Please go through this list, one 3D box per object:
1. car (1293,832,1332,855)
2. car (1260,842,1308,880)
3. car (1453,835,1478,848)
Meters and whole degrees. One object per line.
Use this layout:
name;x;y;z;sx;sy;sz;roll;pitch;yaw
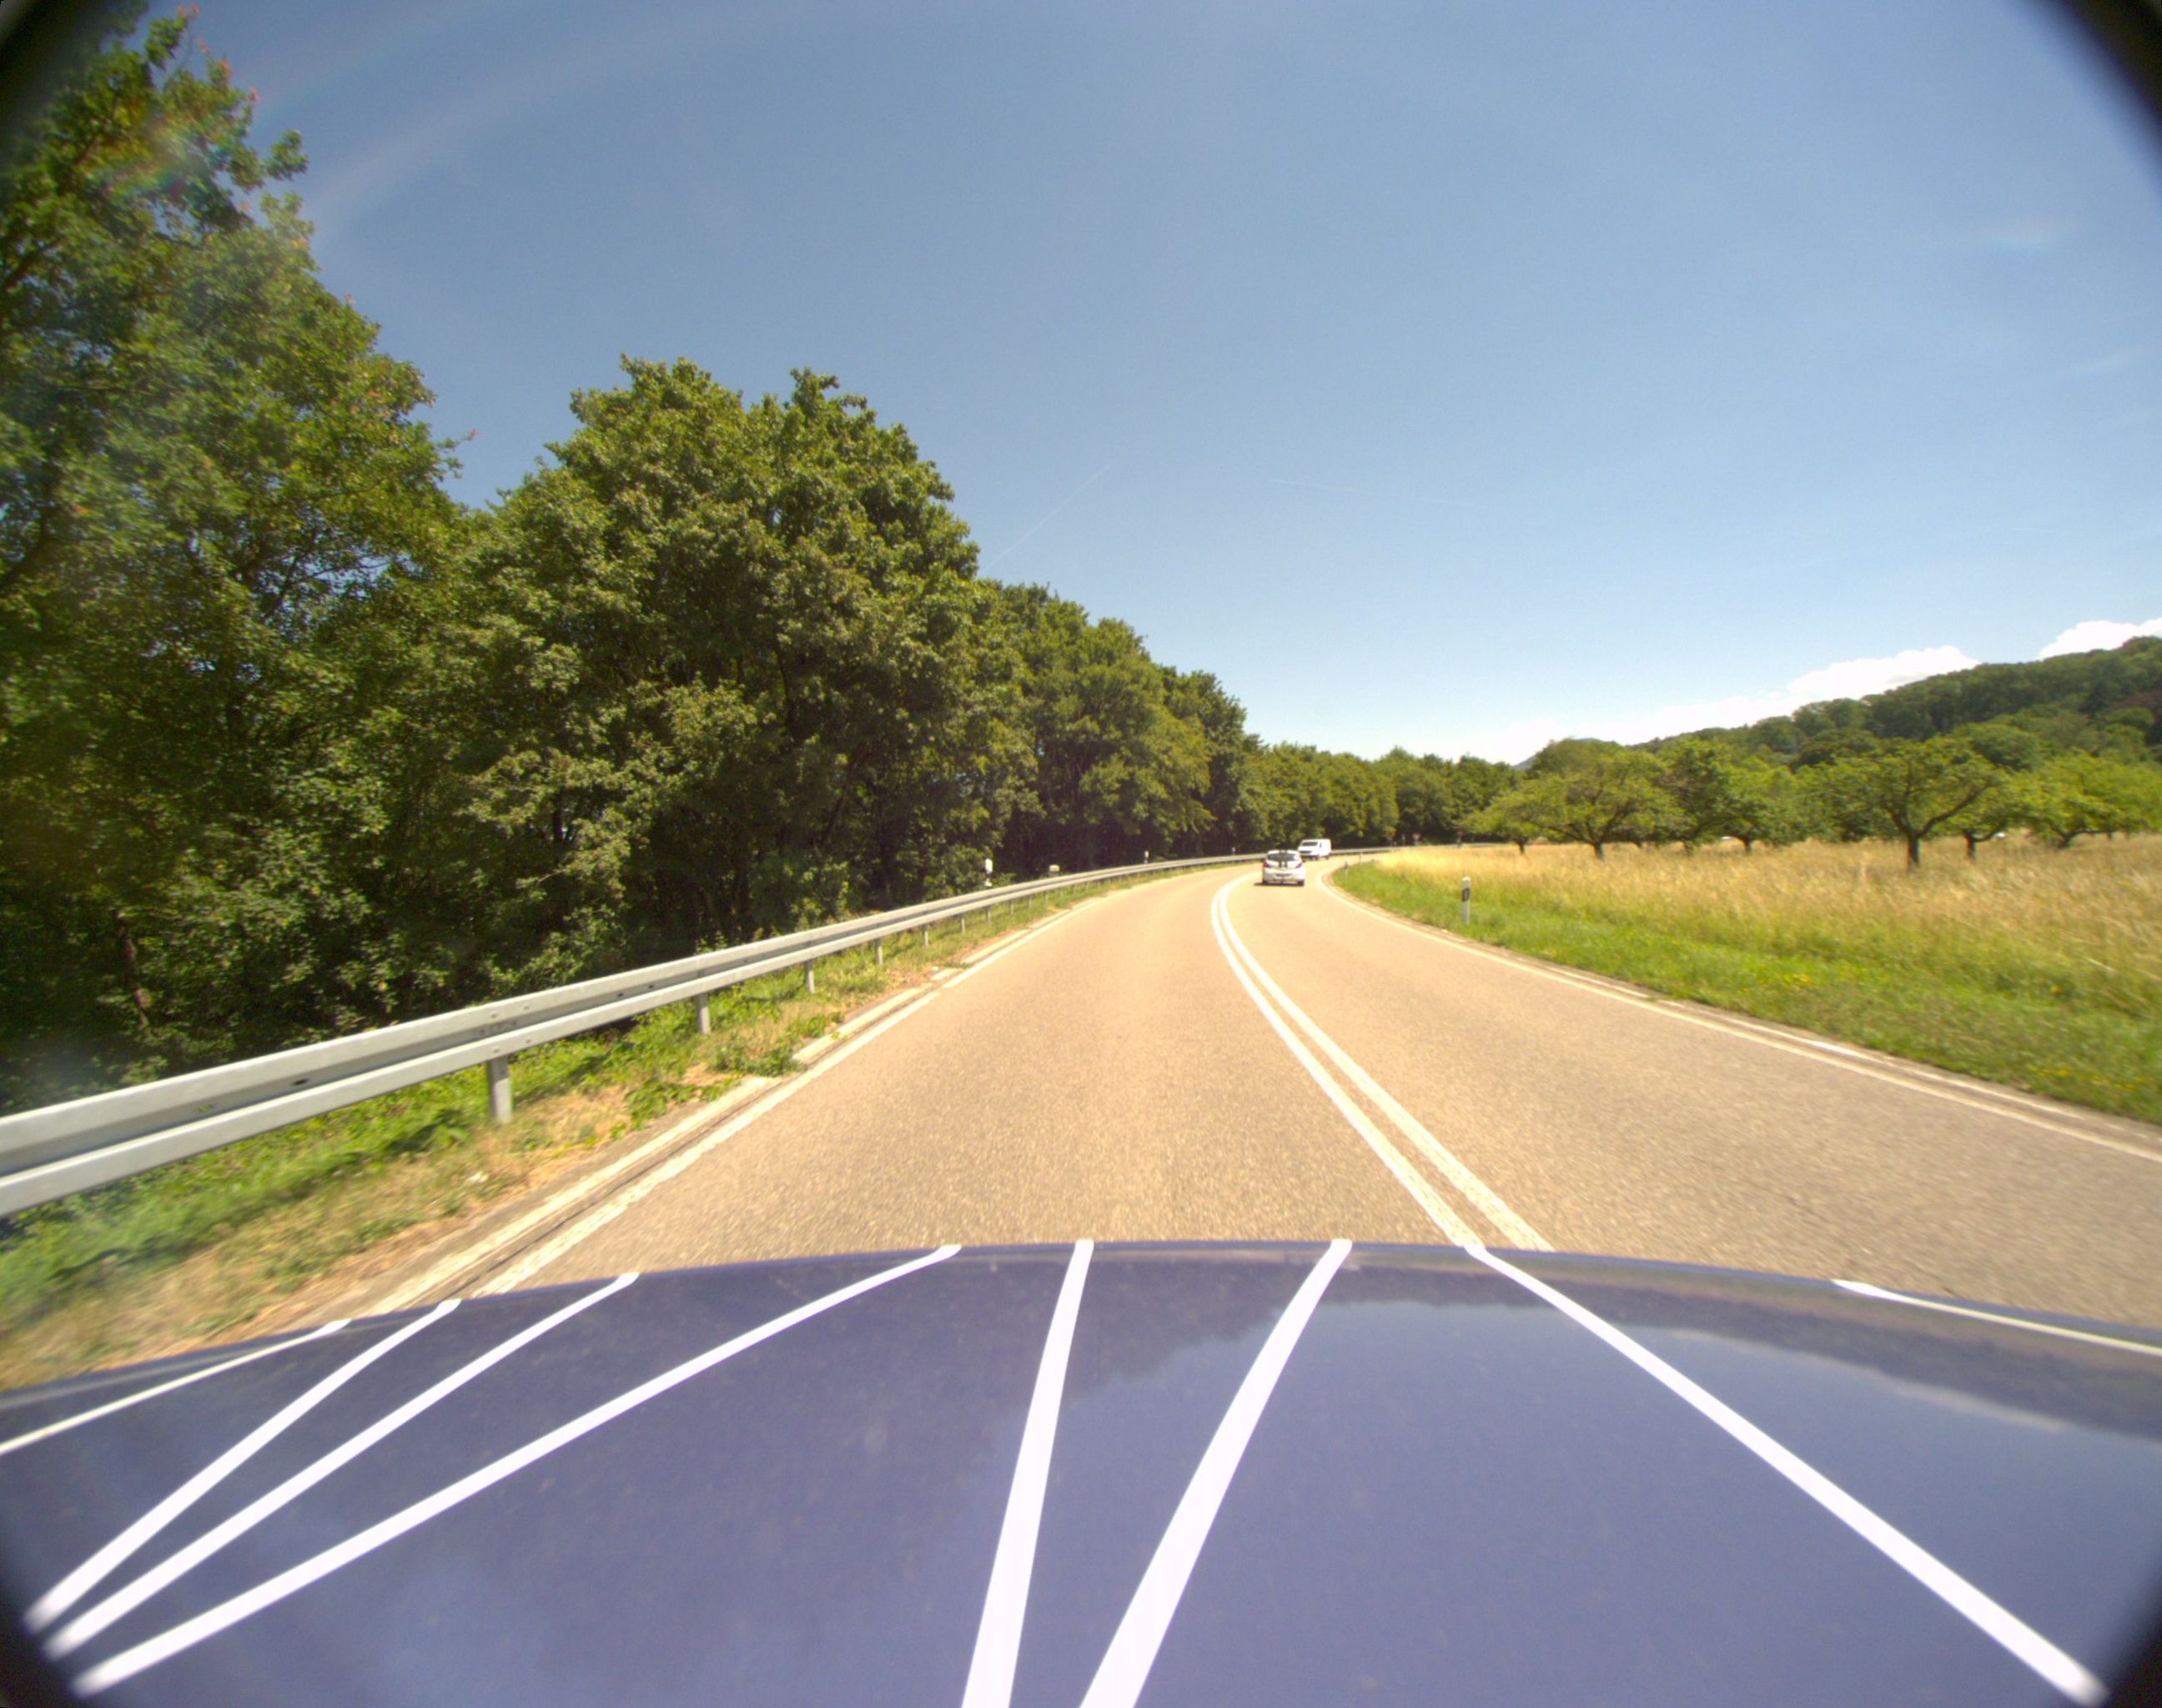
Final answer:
car;22.536;-1.070;73.785;2.220;2.021;5.436;-2;1;32
car;8.663;0.248;32.308;1.824;1.498;4.177;1;1;16
car;50.441;-1.659;99.550;1.822;1.450;4.408;4;5;41
